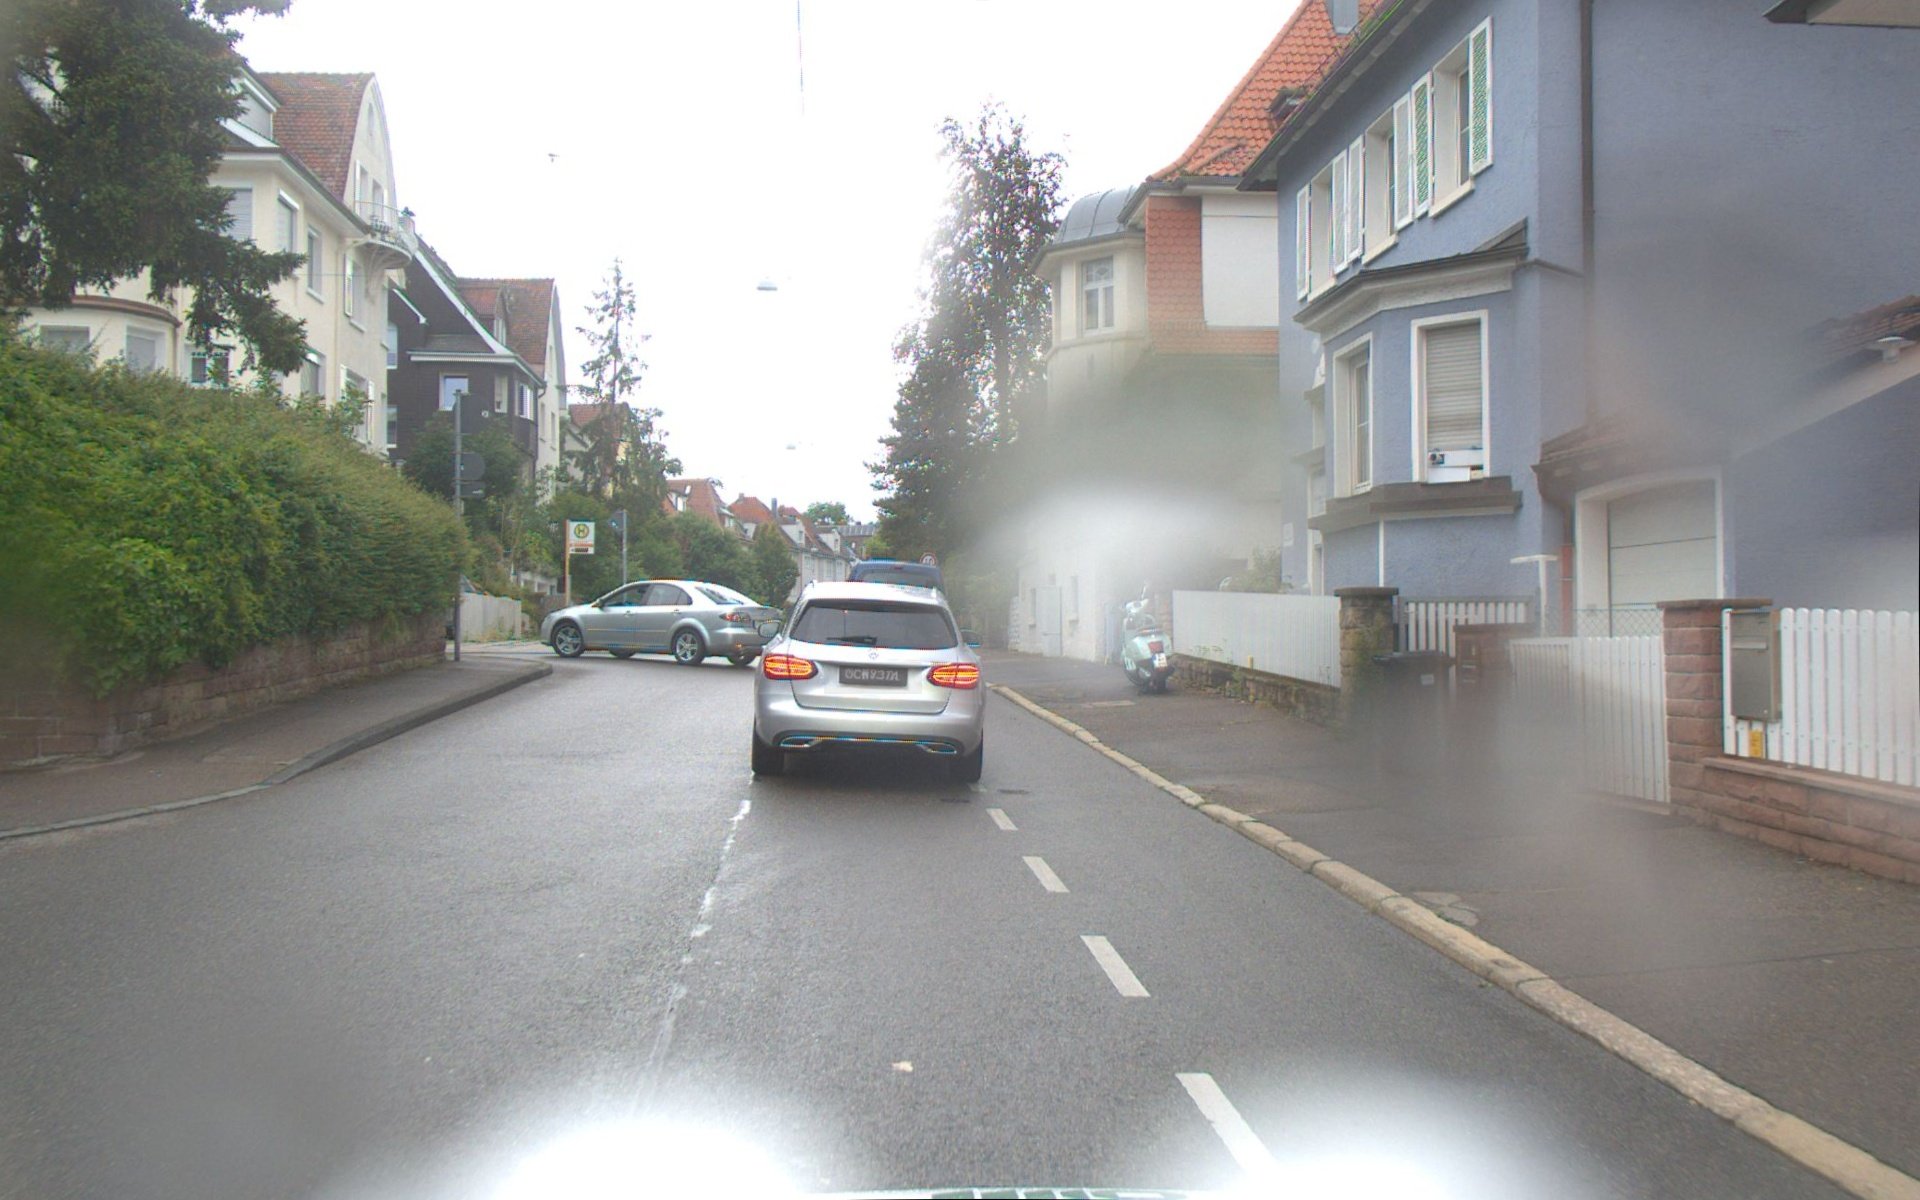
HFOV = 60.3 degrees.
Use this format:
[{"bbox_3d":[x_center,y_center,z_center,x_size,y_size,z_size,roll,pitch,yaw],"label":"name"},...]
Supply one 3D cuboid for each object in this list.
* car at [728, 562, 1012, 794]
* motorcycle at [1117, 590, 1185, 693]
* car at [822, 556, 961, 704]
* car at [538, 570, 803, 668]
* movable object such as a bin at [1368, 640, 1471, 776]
[{"bbox_3d":[-0.718,0.519,13.632,1.943,1.581,4.296,1,1,-3],"label":"car"},{"bbox_3d":[2.551,0.524,22.303,0.570,1.283,2.331,-2,1,-1],"label":"motorcycle"},{"bbox_3d":[-0.956,0.363,23.870,1.787,1.915,4.094,-1,1,-2],"label":"car"},{"bbox_3d":[-5.100,0.290,29.110,4.234,1.566,1.998,1,1,27],"label":"car"},{"bbox_3d":[3.502,0.812,12.635,0.538,0.952,0.633,-3,1,-4],"label":"movable object such as a bin"}]
